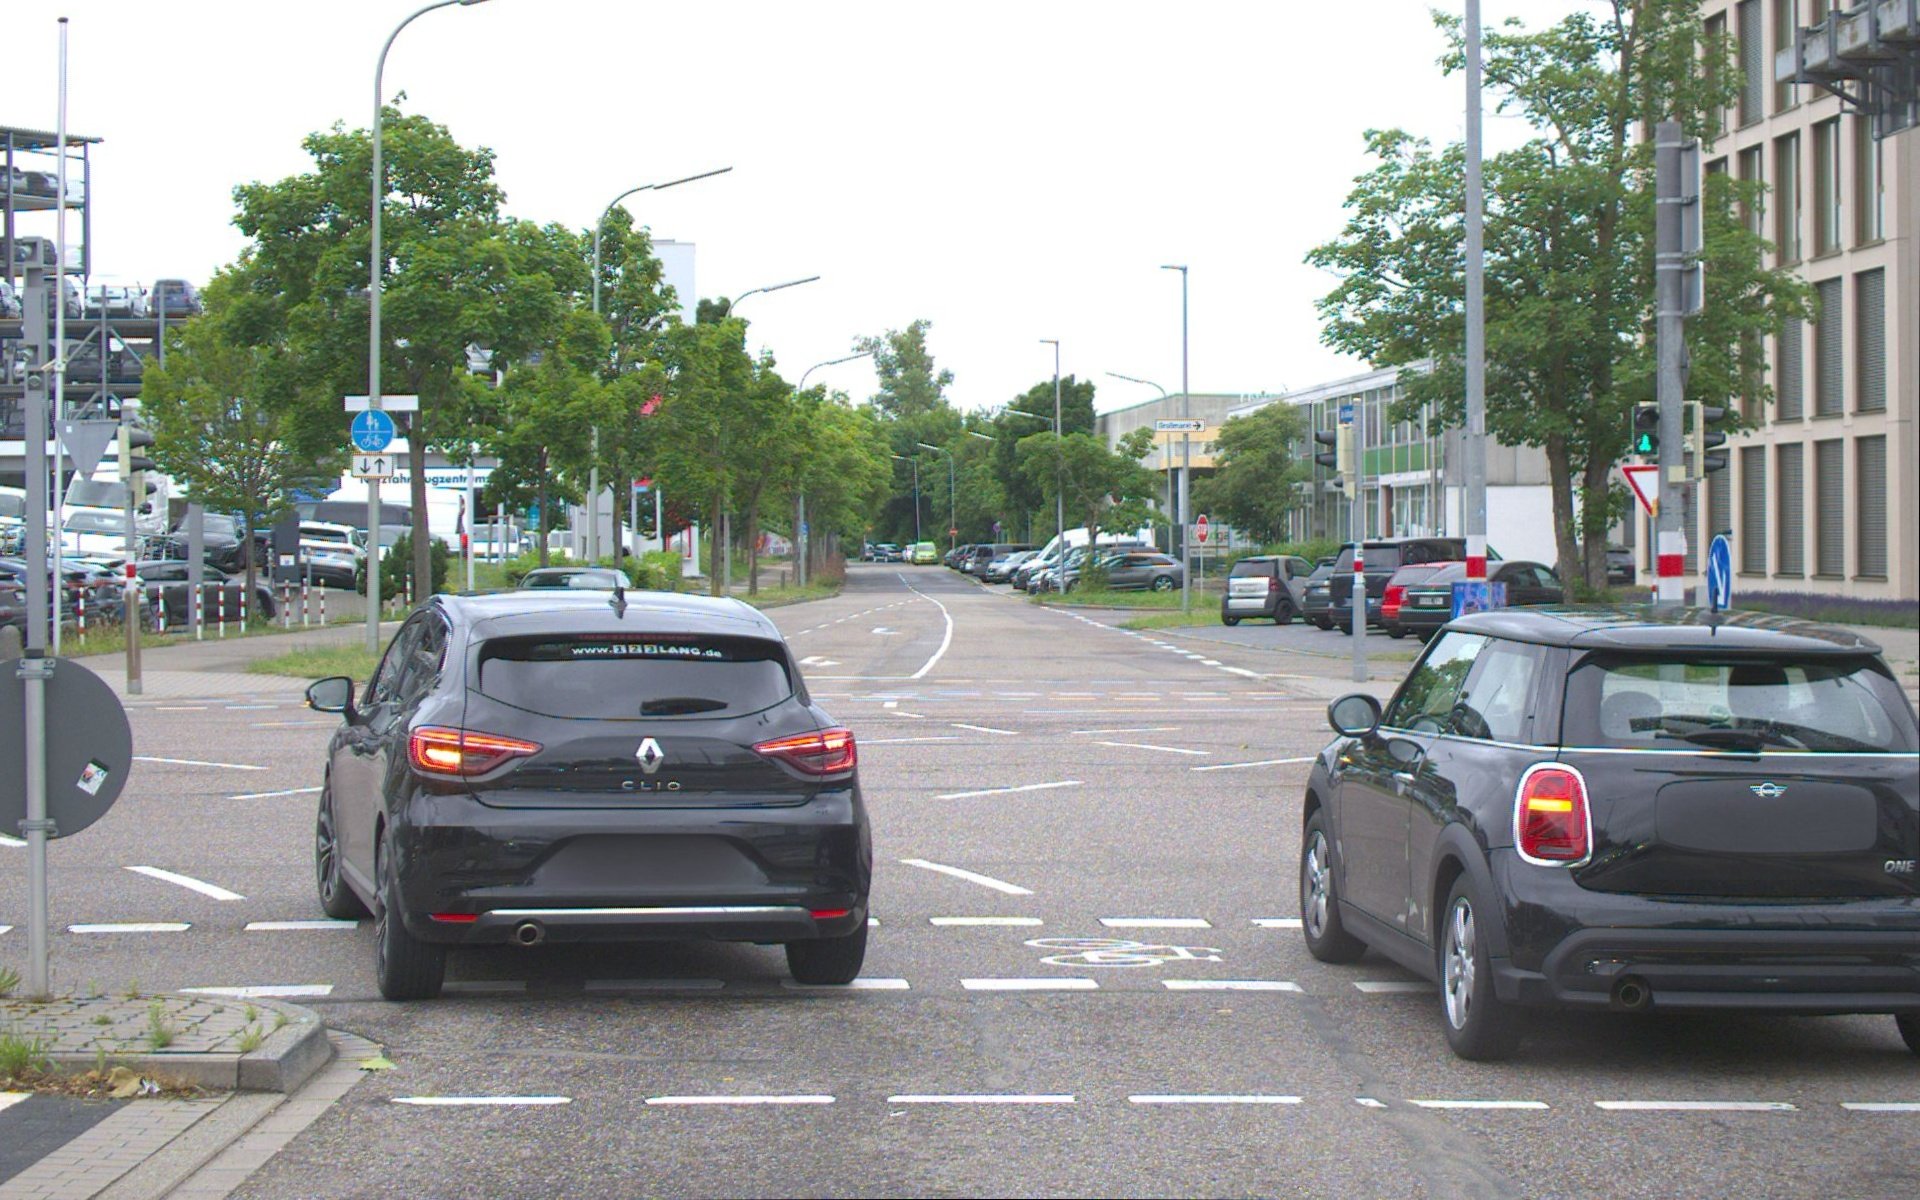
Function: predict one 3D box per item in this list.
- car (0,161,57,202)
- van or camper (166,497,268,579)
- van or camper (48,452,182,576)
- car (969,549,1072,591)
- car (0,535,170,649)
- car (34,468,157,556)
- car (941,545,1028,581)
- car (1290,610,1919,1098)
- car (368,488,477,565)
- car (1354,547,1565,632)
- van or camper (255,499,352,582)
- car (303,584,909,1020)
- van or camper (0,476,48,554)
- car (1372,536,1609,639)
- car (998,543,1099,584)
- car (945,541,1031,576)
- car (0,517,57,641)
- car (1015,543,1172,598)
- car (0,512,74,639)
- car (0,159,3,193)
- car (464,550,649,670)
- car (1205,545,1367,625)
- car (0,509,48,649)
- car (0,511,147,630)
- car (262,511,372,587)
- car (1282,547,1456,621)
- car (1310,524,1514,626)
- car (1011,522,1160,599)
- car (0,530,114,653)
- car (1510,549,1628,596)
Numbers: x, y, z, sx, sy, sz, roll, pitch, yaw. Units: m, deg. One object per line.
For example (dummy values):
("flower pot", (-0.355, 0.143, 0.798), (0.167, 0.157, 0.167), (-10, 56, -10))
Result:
("car", (-47.749, -21.123, 173.530), (3.994, 1.662, 1.996), (1, 1, 31))
("van or camper", (-19.107, -1.567, 88.527), (1.993, 2.007, 4.000), (1, 0, -4))
("van or camper", (-21.706, -2.172, 88.538), (2.535, 3.016, 4.844), (1, 0, -4))
("car", (3.087, -1.528, 176.155), (5.173, 2.007, 2.144), (1, 0, -2))
("car", (-17.342, -0.112, 63.899), (4.892, 2.007, 2.000), (-2, 0, -5))
("car", (-19.411, -1.957, 77.300), (1.993, 1.817, 4.000), (1, 0, -4))
("car", (1.499, -2.259, 209.439), (5.173, 2.007, 2.144), (1, 0, -2))
("car", (2.266, 0.763, 12.025), (1.786, 1.411, 3.643), (1, 0, -1))
("car", (-12.227, -1.646, 78.347), (1.993, 1.612, 4.000), (1, 0, -3))
("car", (9.472, -0.194, 65.047), (1.887, 1.546, 4.123), (0, 0, 45))
("van or camper", (-16.910, -1.515, 88.731), (1.993, 2.007, 4.000), (1, 0, -4))
("car", (-1.536, 0.675, 13.446), (1.756, 1.430, 4.001), (1, 0, -14))
("van or camper", (-21.879, -1.900, 77.160), (1.993, 1.645, 4.001), (1, 0, -5))
("car", (9.377, -0.212, 60.659), (4.121, 1.762, 1.888), (0, 0, -40))
("car", (4.337, -1.808, 169.584), (4.785, 1.885, 2.144), (1, 0, -3))
("car", (1.715, -2.558, 212.494), (5.173, 2.007, 2.144), (1, 0, -2))
("car", (-16.636, -0.237, 53.042), (4.945, 1.870, 2.054), (-2, 0, -7))
("car", (4.541, -0.997, 117.590), (5.173, 1.714, 2.144), (1, 0, -3))
("car", (-16.929, -0.324, 55.533), (4.772, 2.007, 2.000), (-2, 0, -7))
("car", (-49.571, -21.004, 170.167), (3.994, 1.662, 1.996), (1, 1, 31))
("car", (-5.446, 0.097, 46.888), (1.978, 1.546, 4.614), (0, 1, 0))
("car", (7.403, -0.329, 77.952), (3.424, 1.726, 1.765), (1, 0, -42))
("car", (-16.169, -0.219, 50.416), (5.022, 2.007, 2.266), (-2, 0, -5))
("car", (-17.100, -0.469, 61.070), (4.892, 2.007, 2.000), (-2, 0, -5))
("car", (-14.521, -1.139, 77.790), (1.993, 1.612, 4.000), (1, 0, -4))
("car", (8.550, -0.326, 71.646), (1.696, 1.506, 3.808), (0, 0, 42))
("car", (9.001, -0.484, 68.245), (1.998, 1.959, 4.235), (0, 0, 41))
("car", (5.298, -1.667, 145.432), (6.116, 3.106, 2.134), (1, 0, -2))
("car", (-17.042, -0.087, 58.350), (4.892, 2.007, 2.000), (-2, 0, -5))
("car", (18.586, -0.833, 104.947), (3.229, 1.328, 1.486), (1, 0, -19))
